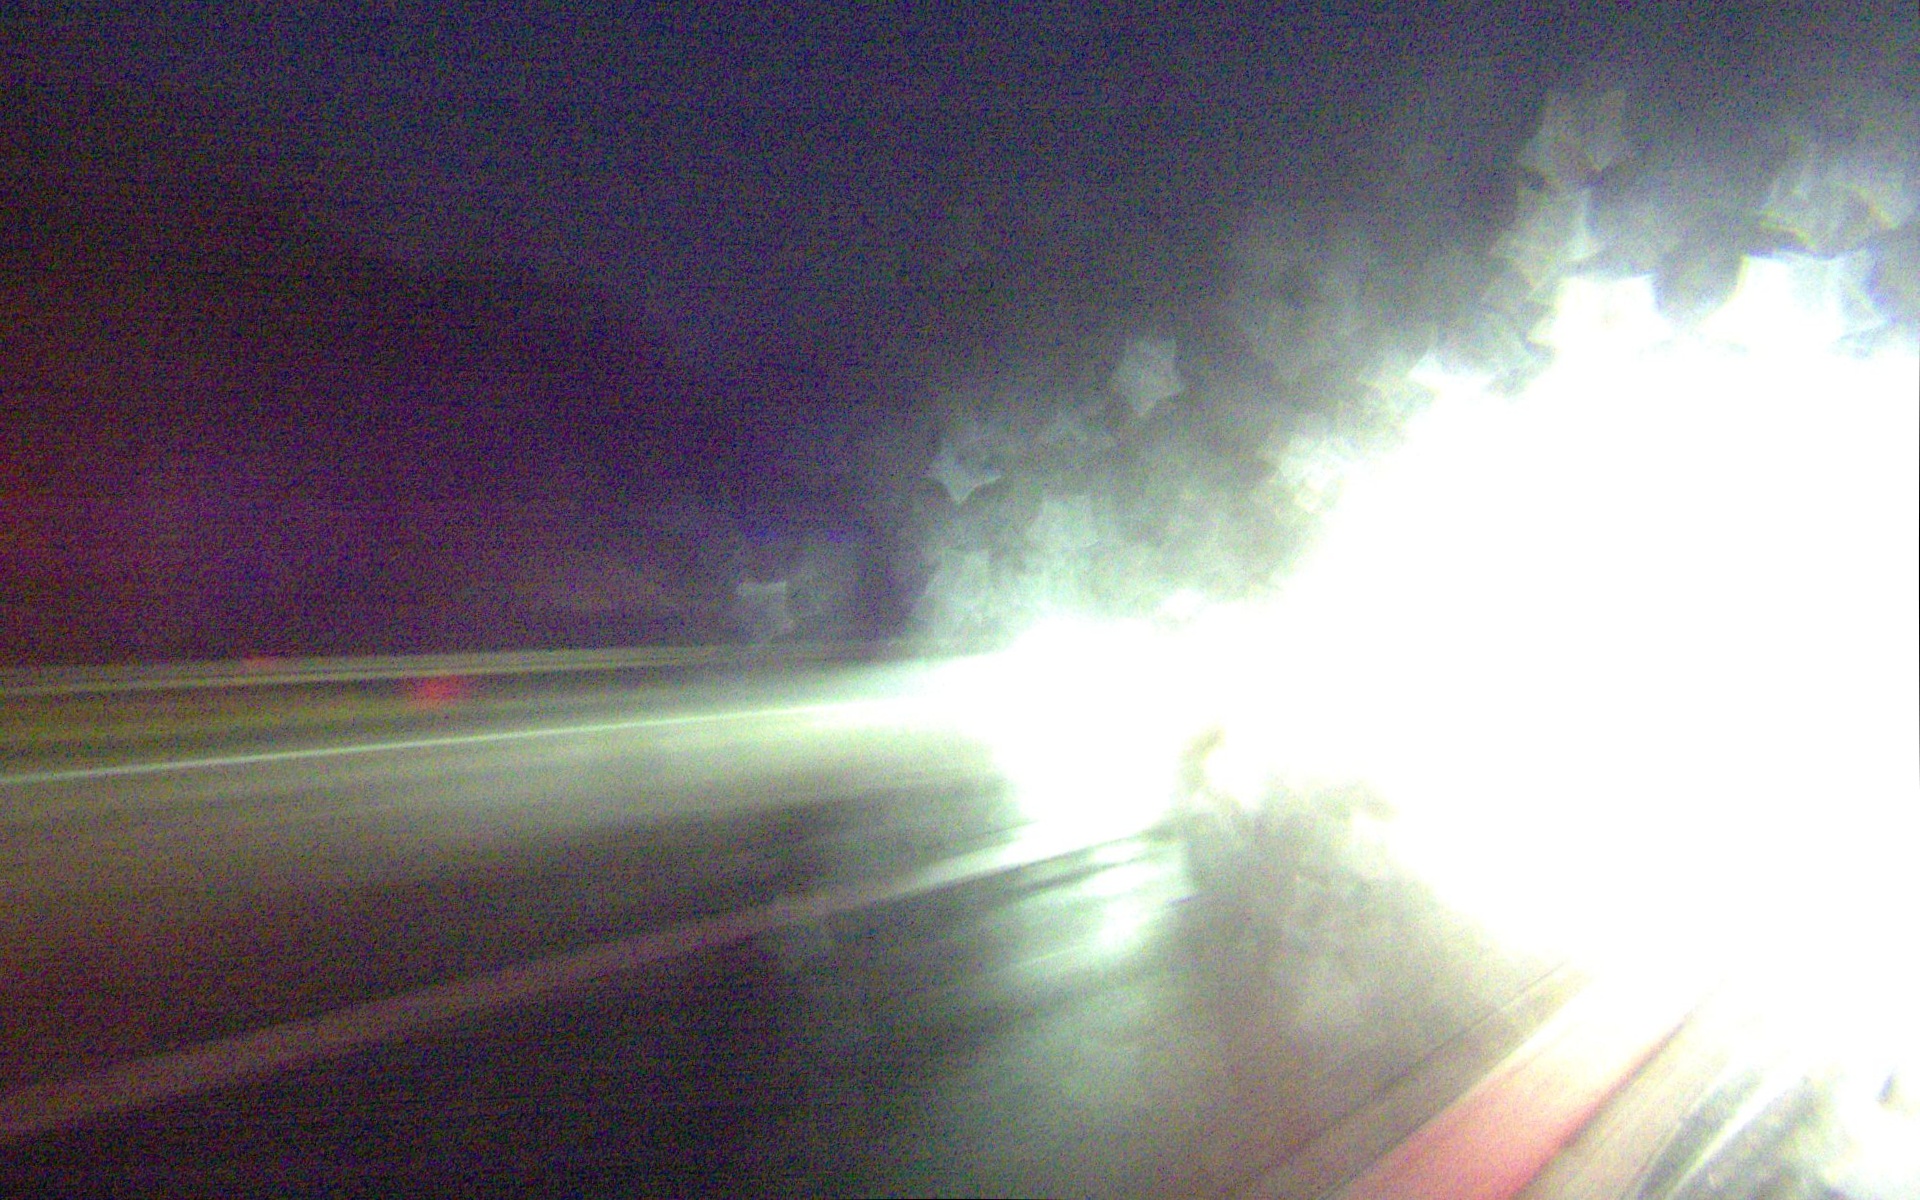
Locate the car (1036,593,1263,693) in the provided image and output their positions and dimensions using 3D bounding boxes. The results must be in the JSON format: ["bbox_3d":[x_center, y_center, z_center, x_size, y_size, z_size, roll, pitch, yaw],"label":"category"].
[{"bbox_3d":[3.392,0.656,17.575,4.258,1.505,1.790,0,1,-45],"label":"car"}]

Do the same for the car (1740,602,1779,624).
[{"bbox_3d":[53.437,0.862,67.595,1.707,1.310,3.930,5,3,42],"label":"car"}]

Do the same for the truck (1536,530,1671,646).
[{"bbox_3d":[28.220,-0.726,43.943,2.757,4.272,13.625,5,5,41],"label":"truck"}]

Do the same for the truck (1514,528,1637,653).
[{"bbox_3d":[23.494,-0.490,38.504,2.758,4.272,6.103,5,5,41],"label":"truck"}]

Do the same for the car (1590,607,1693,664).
[{"bbox_3d":[18.573,0.944,27.527,1.707,1.310,3.929,5,3,42],"label":"car"}]

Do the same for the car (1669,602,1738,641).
[{"bbox_3d":[29.222,0.838,39.724,1.707,1.310,3.929,5,3,42],"label":"car"}]
